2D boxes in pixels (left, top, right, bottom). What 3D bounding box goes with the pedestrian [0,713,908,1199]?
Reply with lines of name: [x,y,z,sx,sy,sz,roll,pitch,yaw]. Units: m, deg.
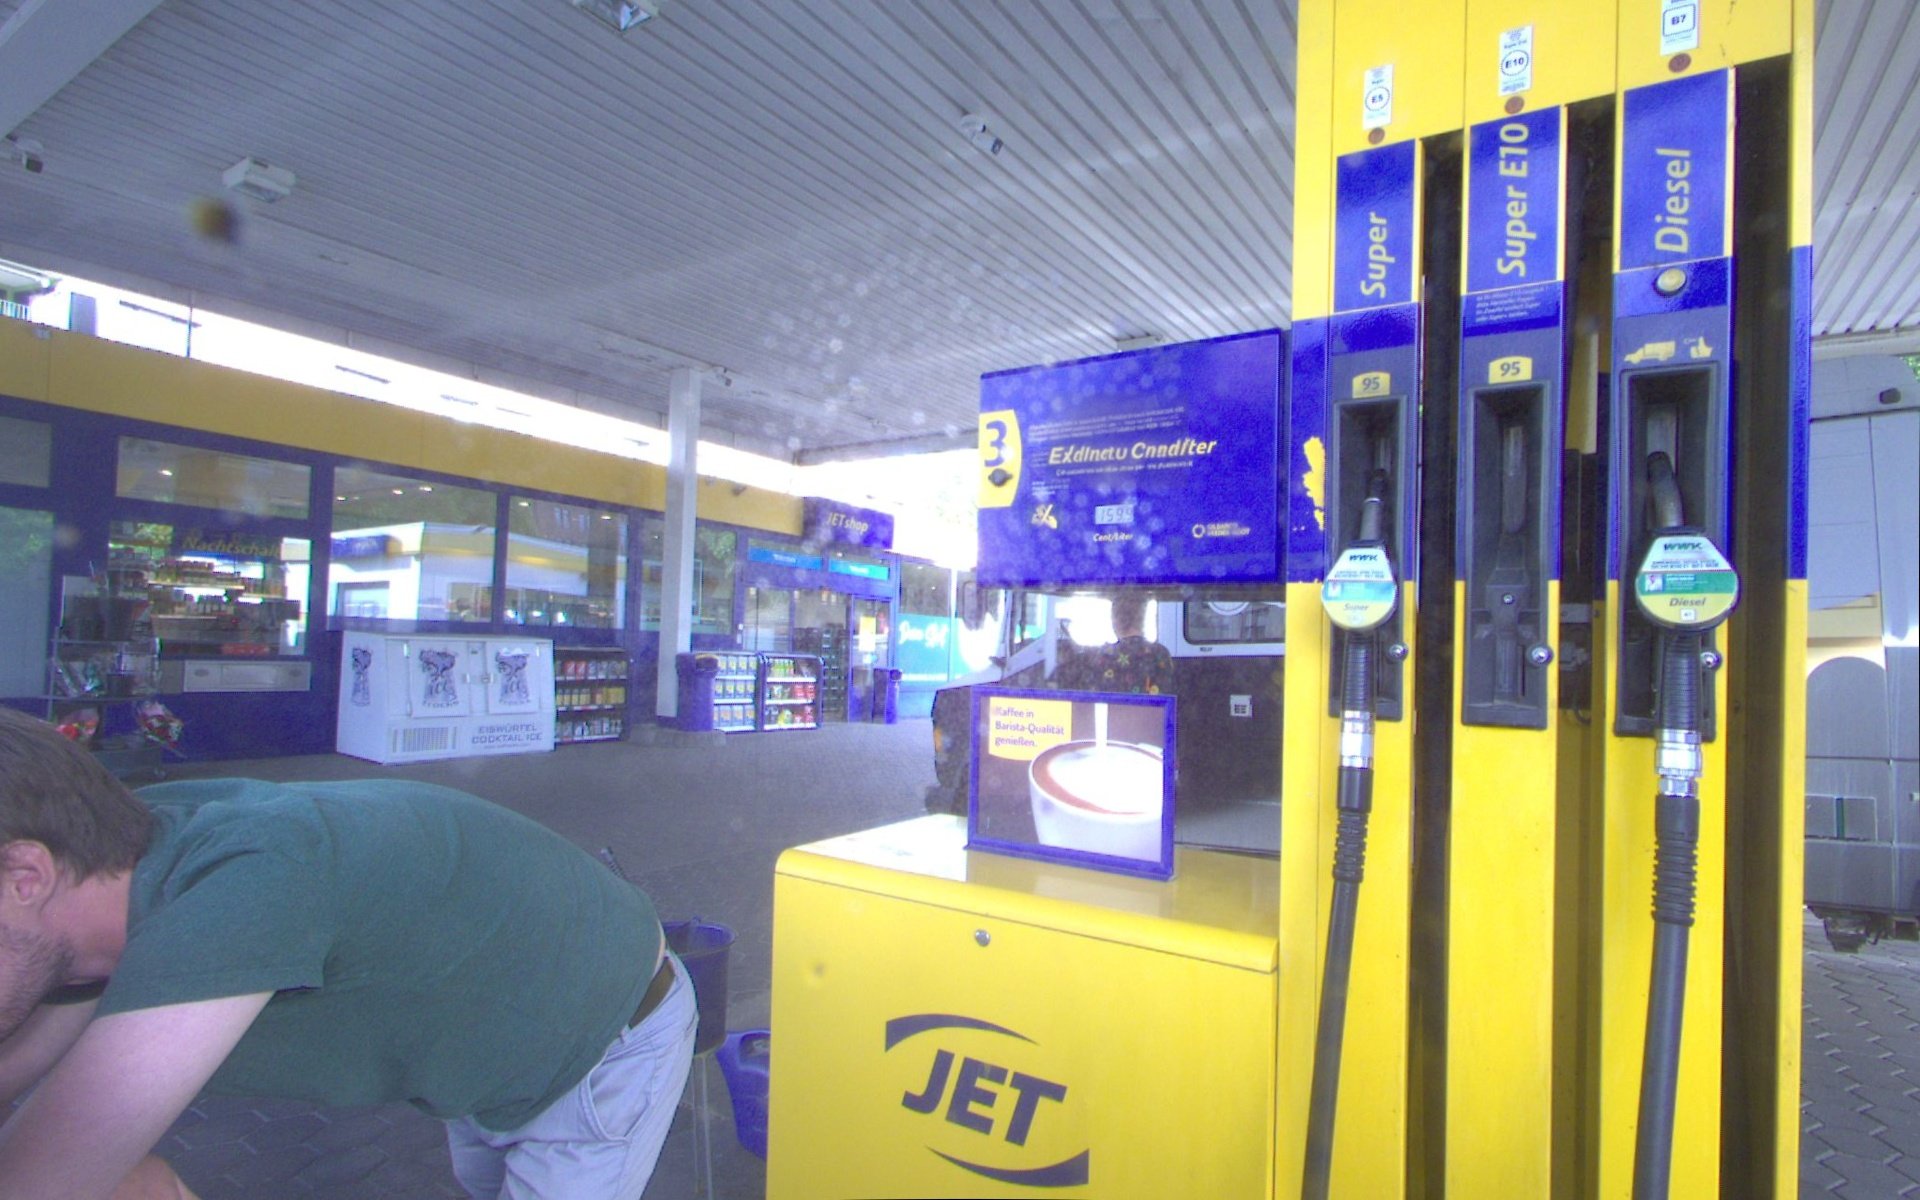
pedestrian: [-0.537,0.809,1.075,0.664,1.298,0.749,-1,-1,31]

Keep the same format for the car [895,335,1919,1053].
car: [2.386,0.414,6.020,5.219,2.724,2.250,0,-3,34]

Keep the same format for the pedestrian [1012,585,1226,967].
pedestrian: [0.769,0.838,5.186,0.961,1.785,0.981,0,-1,1]
